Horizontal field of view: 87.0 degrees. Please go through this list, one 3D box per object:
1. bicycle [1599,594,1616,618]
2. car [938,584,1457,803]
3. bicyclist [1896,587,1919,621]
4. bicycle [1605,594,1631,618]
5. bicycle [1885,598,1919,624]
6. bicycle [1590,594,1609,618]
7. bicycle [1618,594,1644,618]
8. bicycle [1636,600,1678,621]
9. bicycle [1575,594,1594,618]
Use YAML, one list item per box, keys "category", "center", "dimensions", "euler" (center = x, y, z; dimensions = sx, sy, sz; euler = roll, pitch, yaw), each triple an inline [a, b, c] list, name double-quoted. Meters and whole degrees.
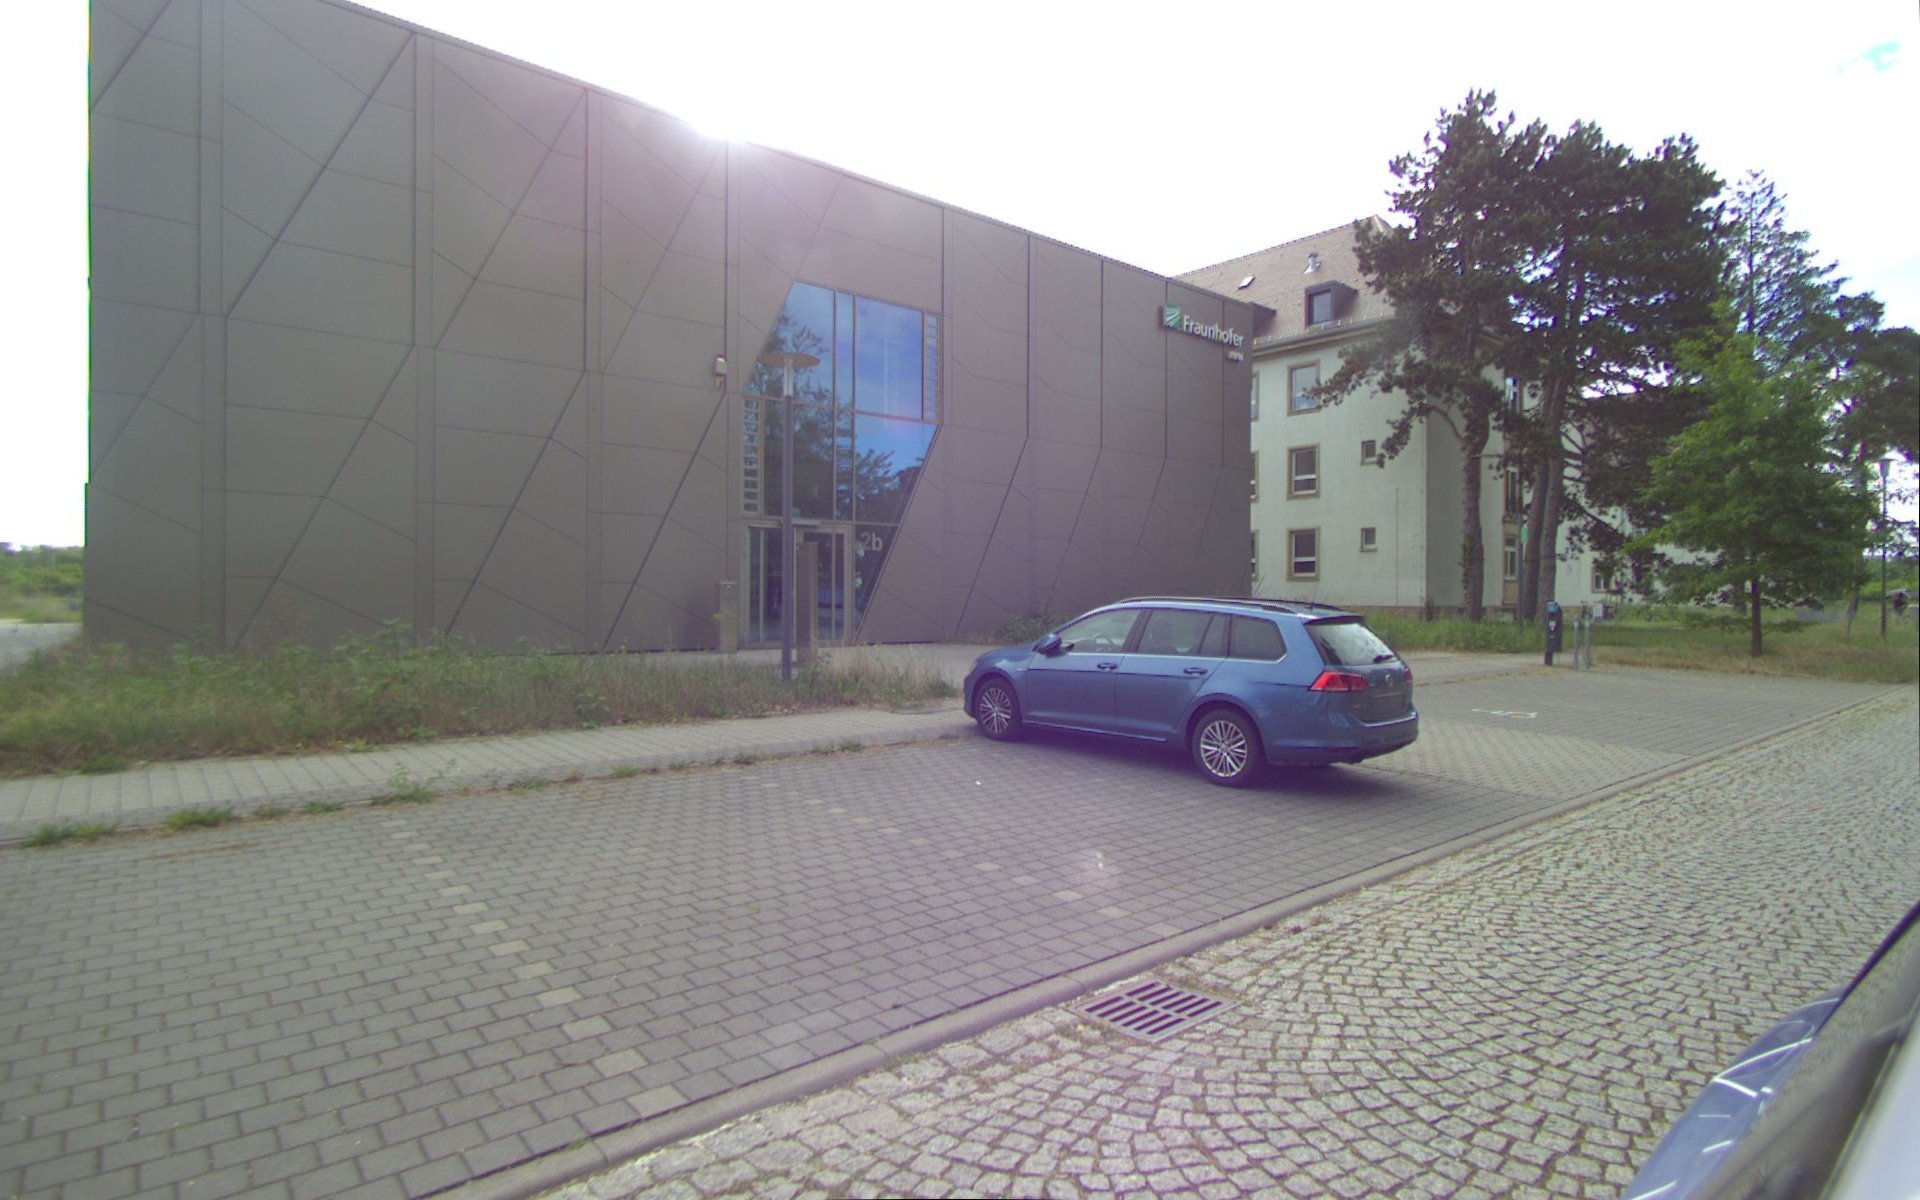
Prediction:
- category: "bicycle"
  center: [37.536, 0.345, 58.624]
  dimensions: [0.481, 1.349, 1.808]
  euler: [0, 0, 44]
- category: "car"
  center: [1.967, 0.643, 9.538]
  dimensions: [1.793, 1.461, 4.528]
  euler: [0, 2, -43]
- category: "bicyclist"
  center: [46.675, 0.187, 49.496]
  dimensions: [0.902, 1.656, 0.962]
  euler: [0, 0, 9]
- category: "bicycle"
  center: [37.845, 0.335, 58.234]
  dimensions: [1.802, 1.349, 0.573]
  euler: [0, 0, -33]
- category: "bicycle"
  center: [46.777, 0.536, 49.447]
  dimensions: [2.128, 1.292, 0.962]
  euler: [0, 0, 9]
- category: "bicycle"
  center: [37.268, 0.354, 58.964]
  dimensions: [0.571, 1.349, 1.808]
  euler: [0, 0, 44]
- category: "bicycle"
  center: [38.331, 0.349, 57.826]
  dimensions: [1.802, 1.349, 0.573]
  euler: [0, 0, -33]
- category: "bicycle"
  center: [38.175, 0.552, 55.446]
  dimensions: [0.562, 1.098, 1.837]
  euler: [-2, 1, -36]
- category: "bicycle"
  center: [36.732, 0.352, 59.511]
  dimensions: [0.571, 1.349, 1.808]
  euler: [0, 0, 44]
